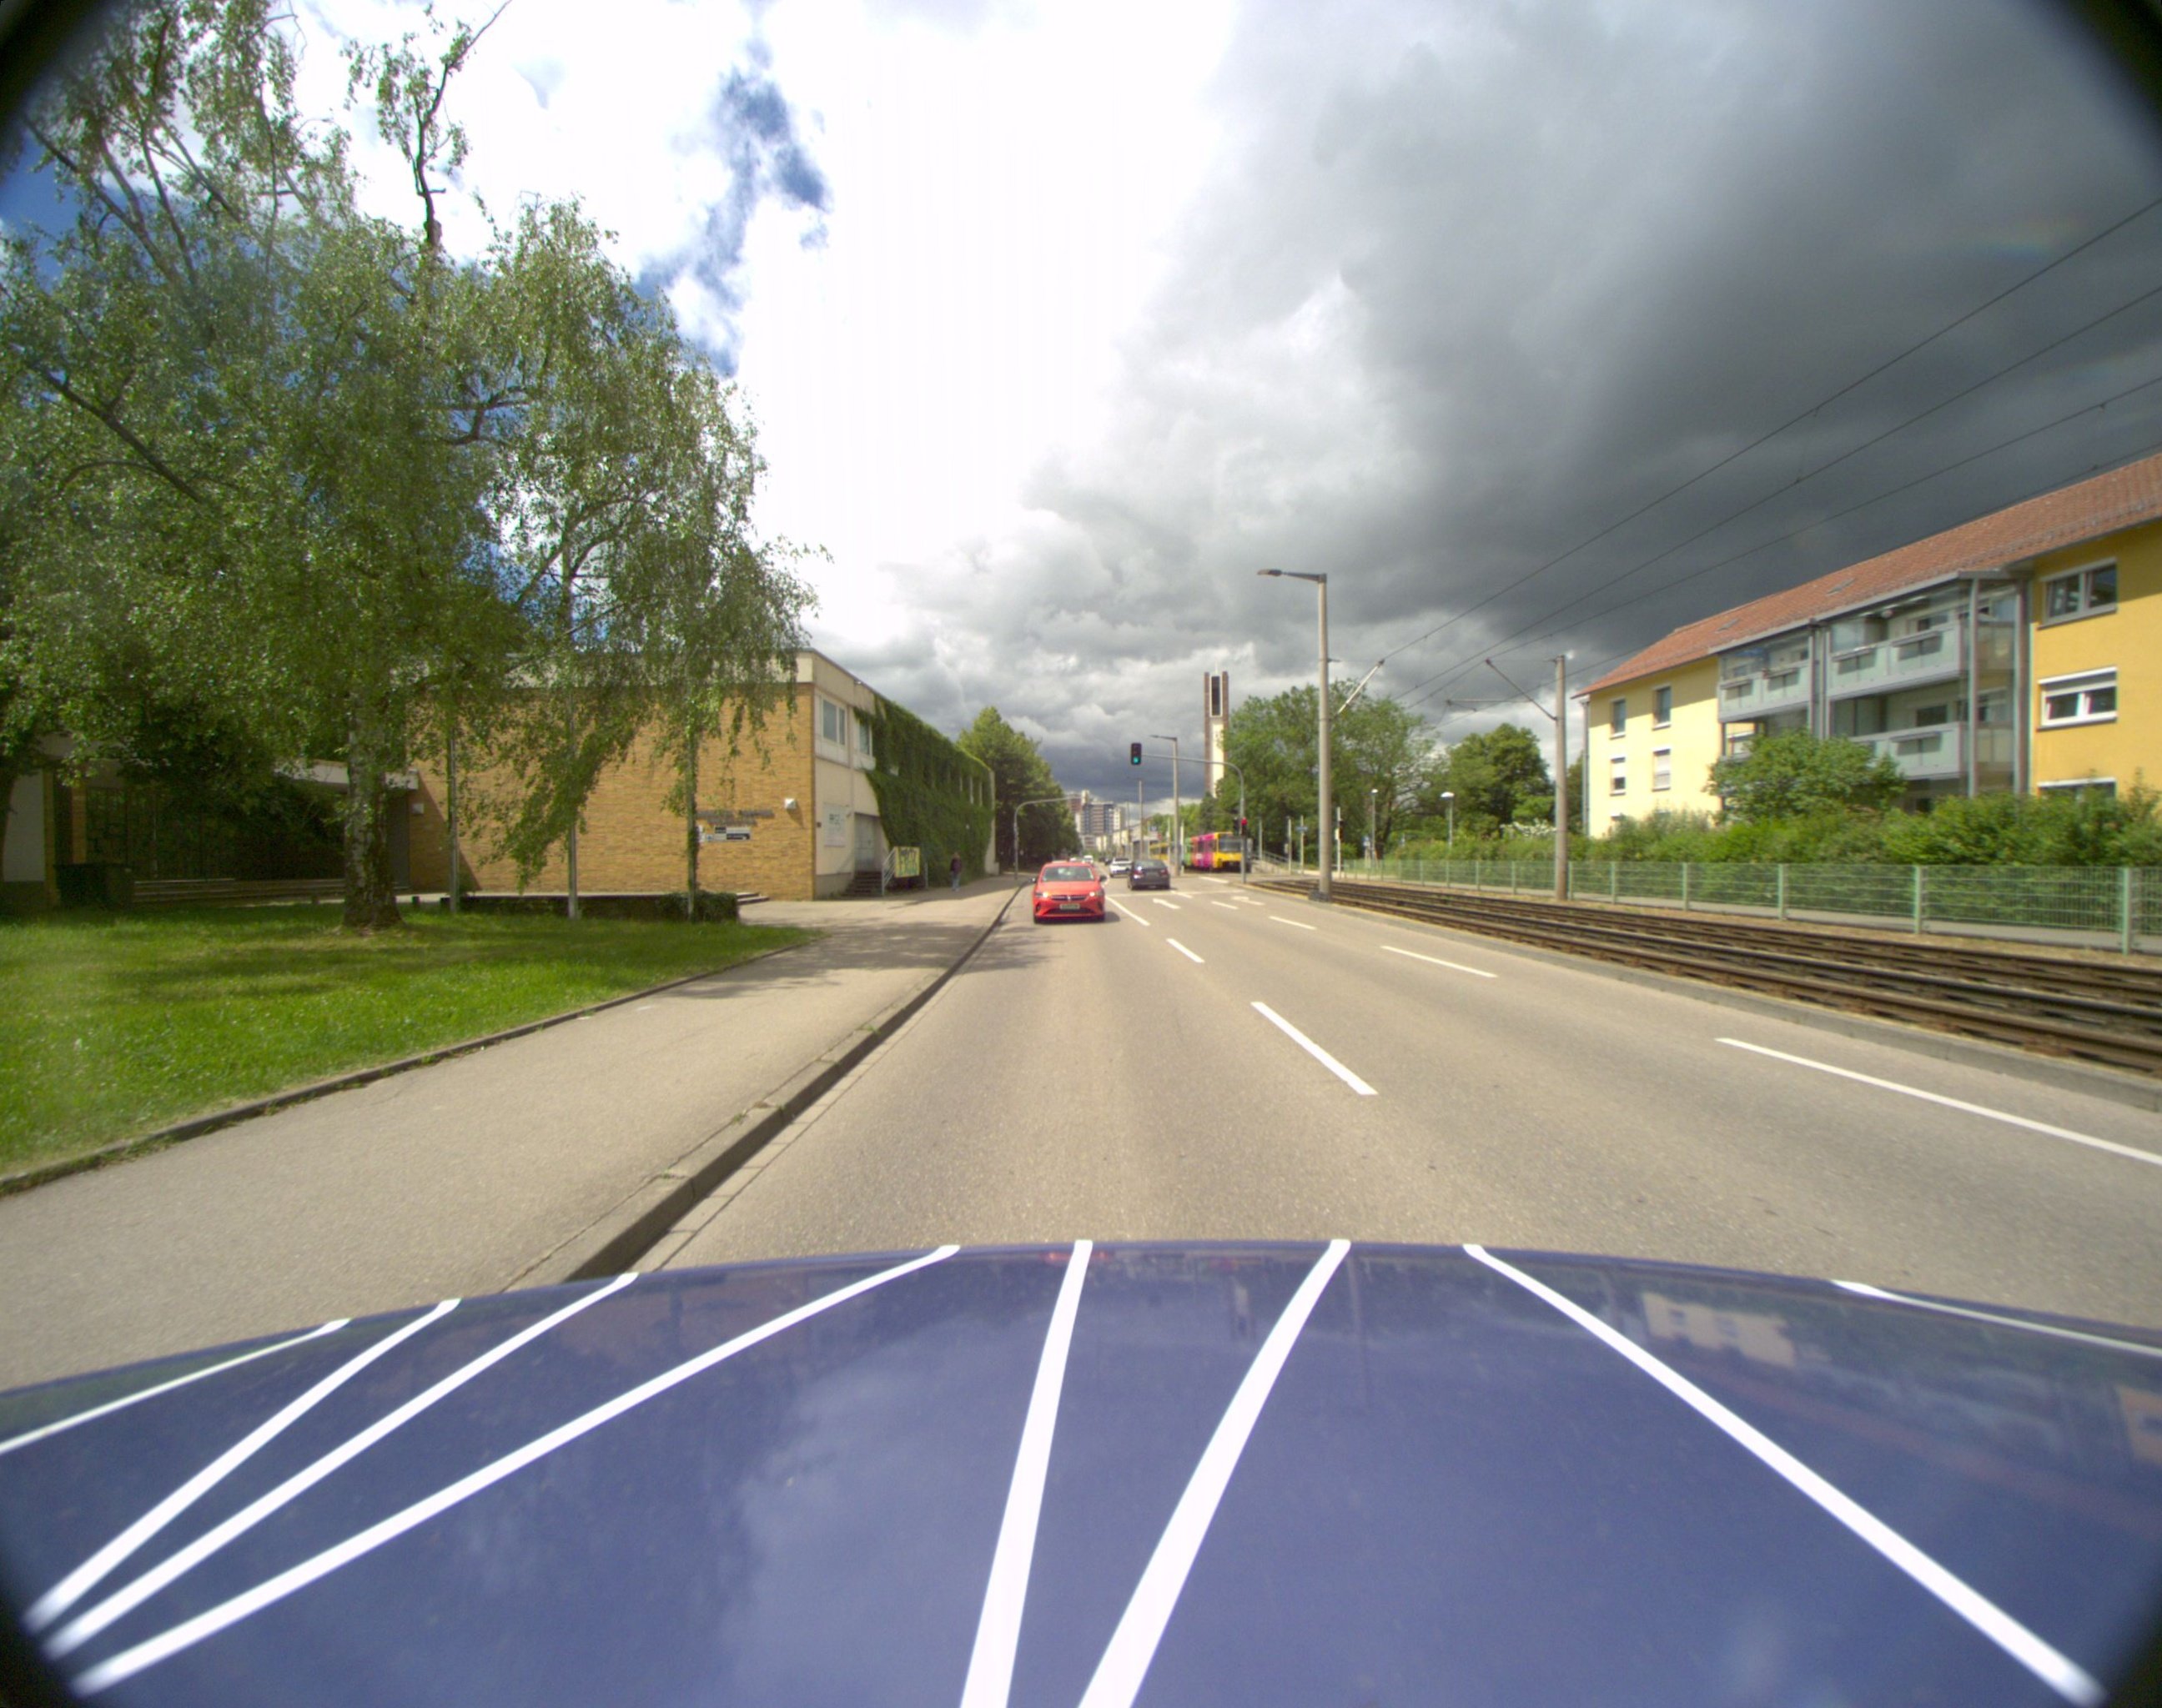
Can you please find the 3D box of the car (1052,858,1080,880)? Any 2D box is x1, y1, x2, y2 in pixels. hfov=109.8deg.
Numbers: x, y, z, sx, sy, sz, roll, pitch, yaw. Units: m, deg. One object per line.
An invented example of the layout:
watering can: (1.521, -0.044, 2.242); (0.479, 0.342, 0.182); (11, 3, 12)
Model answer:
car: (-1.074, 1.091, 56.583); (1.756, 1.433, 4.226); (-1, 1, 3)

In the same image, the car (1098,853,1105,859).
car: (5.710, 0.612, 207.294); (1.756, 1.603, 4.226); (-1, 1, 3)

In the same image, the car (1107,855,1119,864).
car: (5.357, 0.947, 127.230); (1.722, 1.433, 4.008); (-1, 1, 0)

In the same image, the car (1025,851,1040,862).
car: (-7.409, 0.387, 116.486); (1.655, 1.533, 3.677); (-1, 1, 6)

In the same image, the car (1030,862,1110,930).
car: (-0.167, 0.983, 19.541); (1.756, 1.433, 4.226); (-1, 1, 3)

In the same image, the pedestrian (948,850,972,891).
pedestrian: (-5.355, 0.705, 33.673); (0.811, 1.761, 0.817); (2, 1, 7)

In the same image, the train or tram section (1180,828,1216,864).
train or tram section: (13.470, -0.953, 88.149); (2.988, 3.840, 8.377); (-2, 1, 1)

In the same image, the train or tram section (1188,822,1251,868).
train or tram section: (13.222, -0.842, 74.667); (2.988, 3.840, 18.537); (-2, 0, 1)

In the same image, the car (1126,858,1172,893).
car: (3.046, 0.957, 34.925); (1.633, 1.424, 4.166); (-2, 0, -1)

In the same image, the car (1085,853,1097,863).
car: (1.641, 0.619, 122.772); (1.821, 1.433, 4.008); (-1, 1, -1)

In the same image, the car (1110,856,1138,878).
car: (3.229, 0.961, 57.254); (1.765, 1.543, 3.999); (-2, 1, -1)
